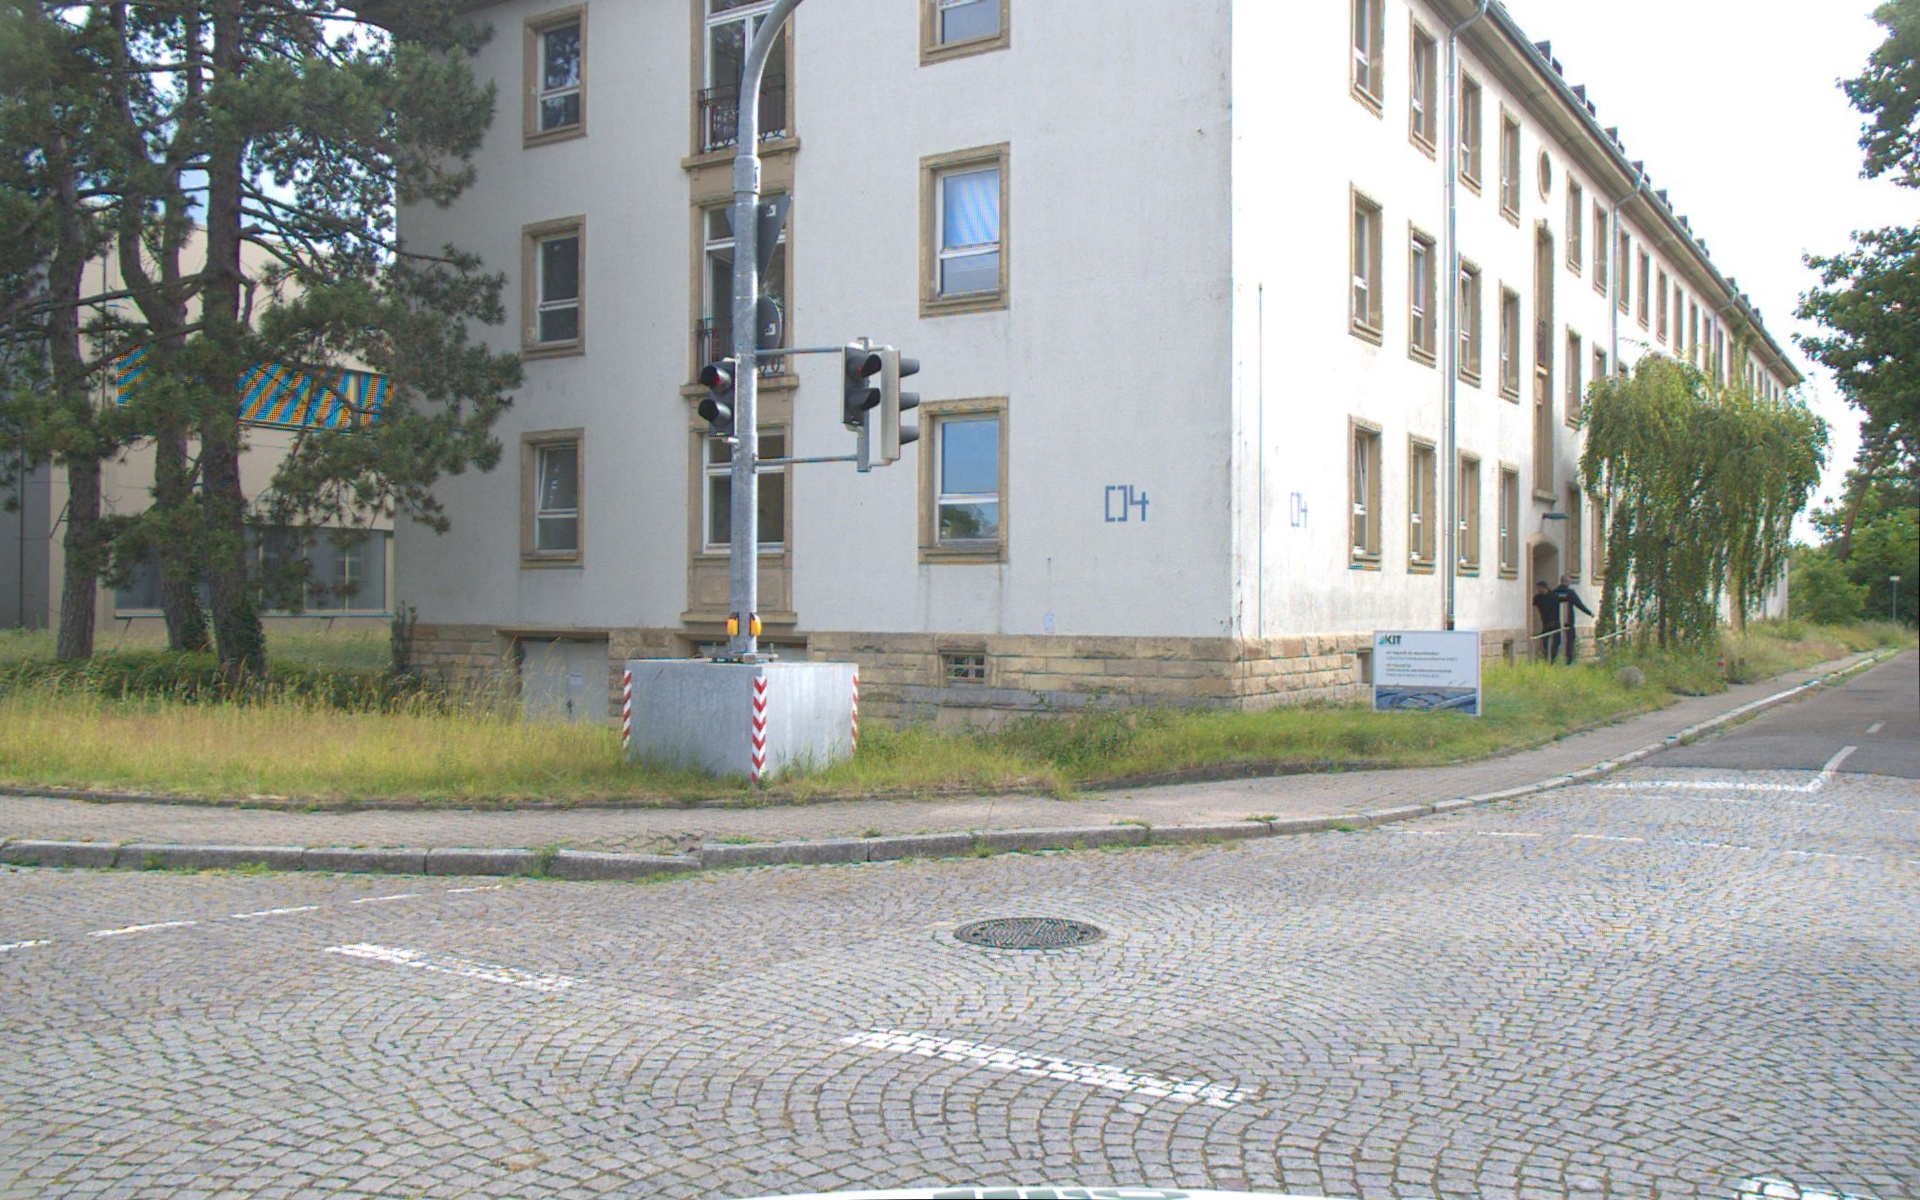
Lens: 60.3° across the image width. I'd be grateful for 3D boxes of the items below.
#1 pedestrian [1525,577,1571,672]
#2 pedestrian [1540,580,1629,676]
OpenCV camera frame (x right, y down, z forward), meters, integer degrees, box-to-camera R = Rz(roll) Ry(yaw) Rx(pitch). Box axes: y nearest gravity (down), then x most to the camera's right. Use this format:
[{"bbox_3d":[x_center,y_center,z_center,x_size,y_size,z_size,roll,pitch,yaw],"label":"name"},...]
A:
[{"bbox_3d":[12.536,0.511,35.244,0.847,1.965,0.837,2,0,21],"label":"pedestrian"},{"bbox_3d":[12.970,0.571,34.344,1.516,1.902,1.196,1,0,30],"label":"pedestrian"}]
